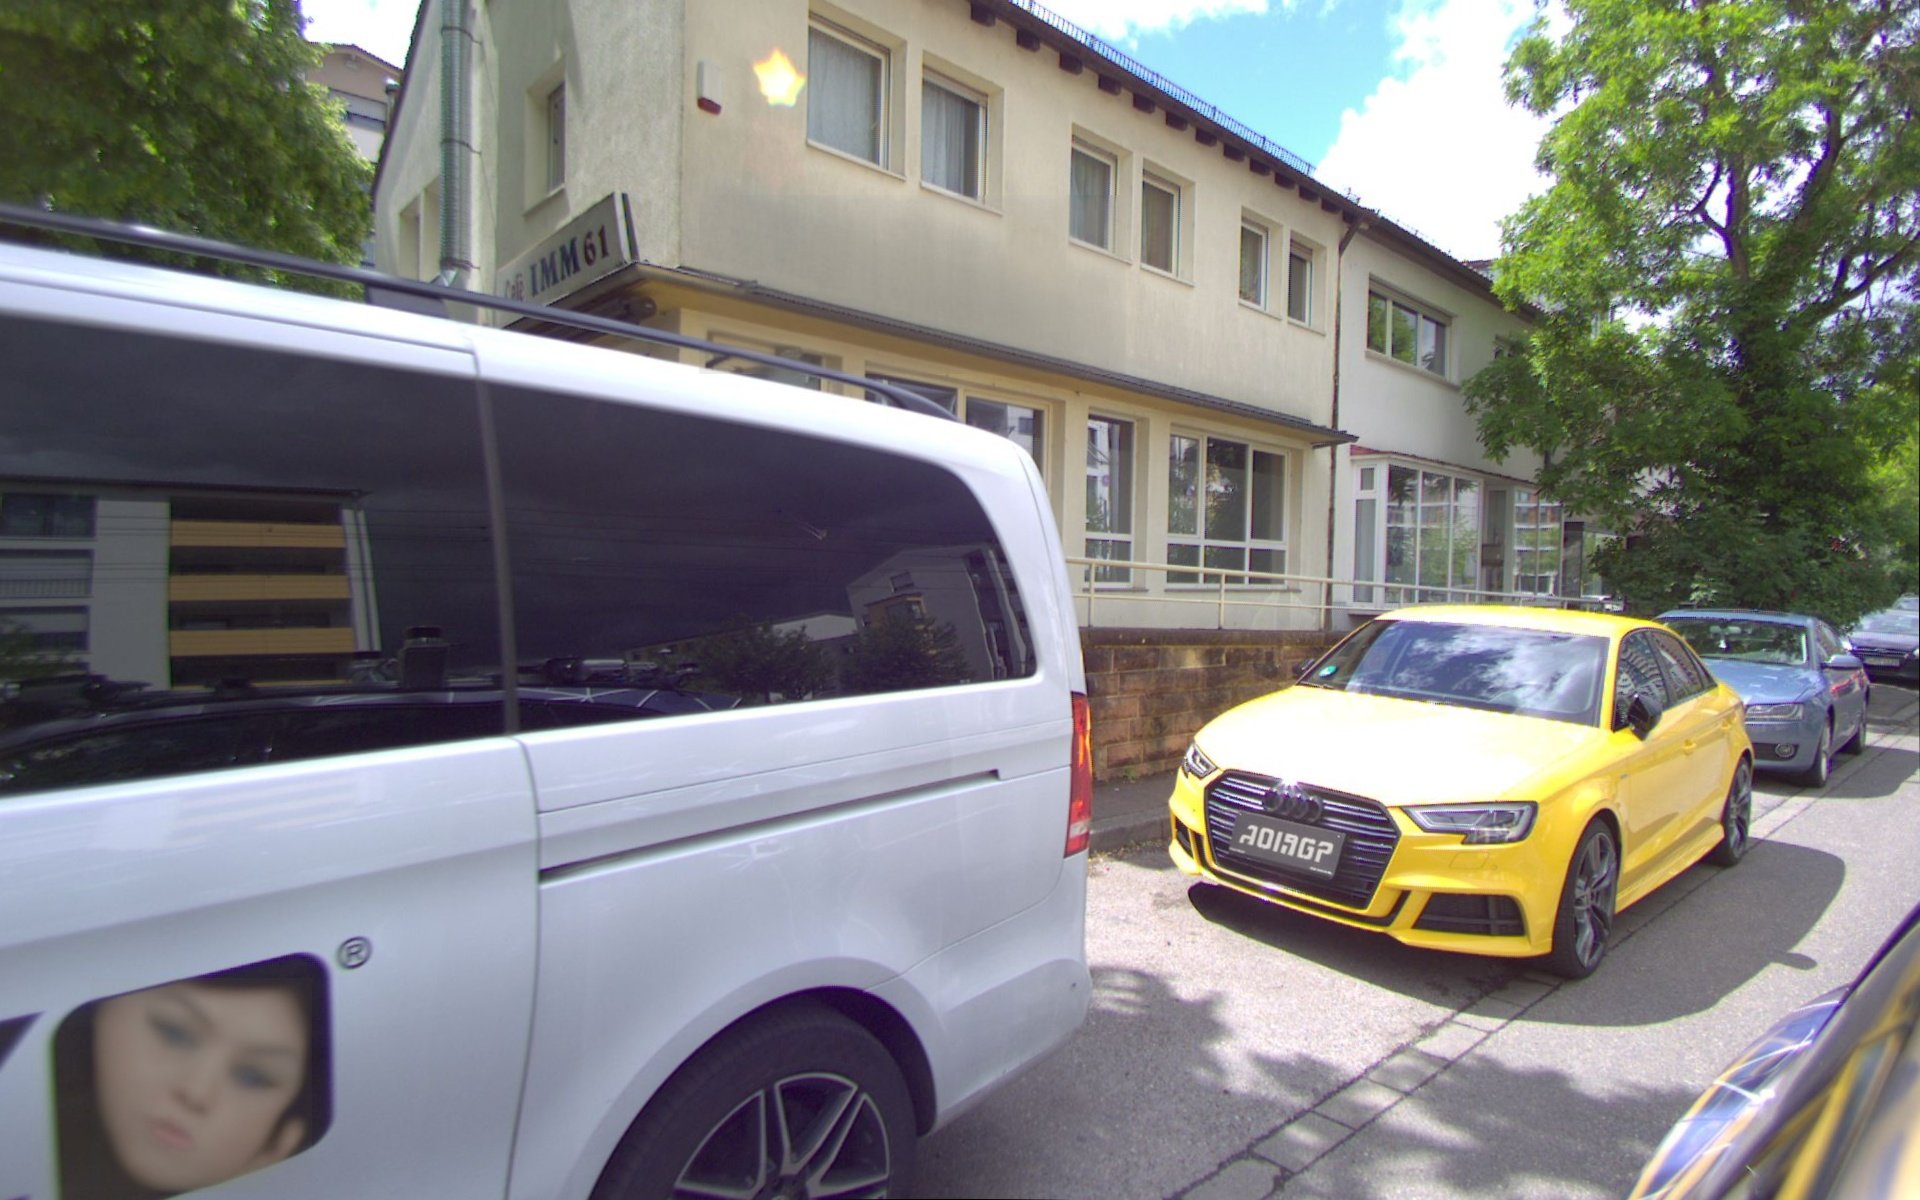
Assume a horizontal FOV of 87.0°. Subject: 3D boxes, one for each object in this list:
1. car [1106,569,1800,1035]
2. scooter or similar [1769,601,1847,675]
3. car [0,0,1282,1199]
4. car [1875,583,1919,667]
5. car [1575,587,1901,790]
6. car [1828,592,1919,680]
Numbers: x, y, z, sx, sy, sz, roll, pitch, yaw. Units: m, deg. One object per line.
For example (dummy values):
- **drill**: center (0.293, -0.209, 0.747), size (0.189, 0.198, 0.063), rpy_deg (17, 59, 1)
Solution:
- **car**: center (2.857, 0.638, 5.355), size (4.265, 1.460, 1.759), rpy_deg (0, 3, -41)
- **scooter or similar**: center (15.519, 0.670, 18.559), size (0.528, 1.258, 1.232), rpy_deg (2, 1, 12)
- **car**: center (-1.887, 0.331, 1.540), size (5.646, 1.983, 1.917), rpy_deg (0, 2, -42)
- **car**: center (23.033, 0.571, 23.505), size (4.987, 1.810, 2.019), rpy_deg (0, 2, -41)
- **car**: center (7.598, 0.649, 9.705), size (4.418, 1.460, 1.757), rpy_deg (0, 2, -43)
- **car**: center (18.473, 0.657, 19.765), size (4.171, 1.524, 1.837), rpy_deg (0, 2, -43)
